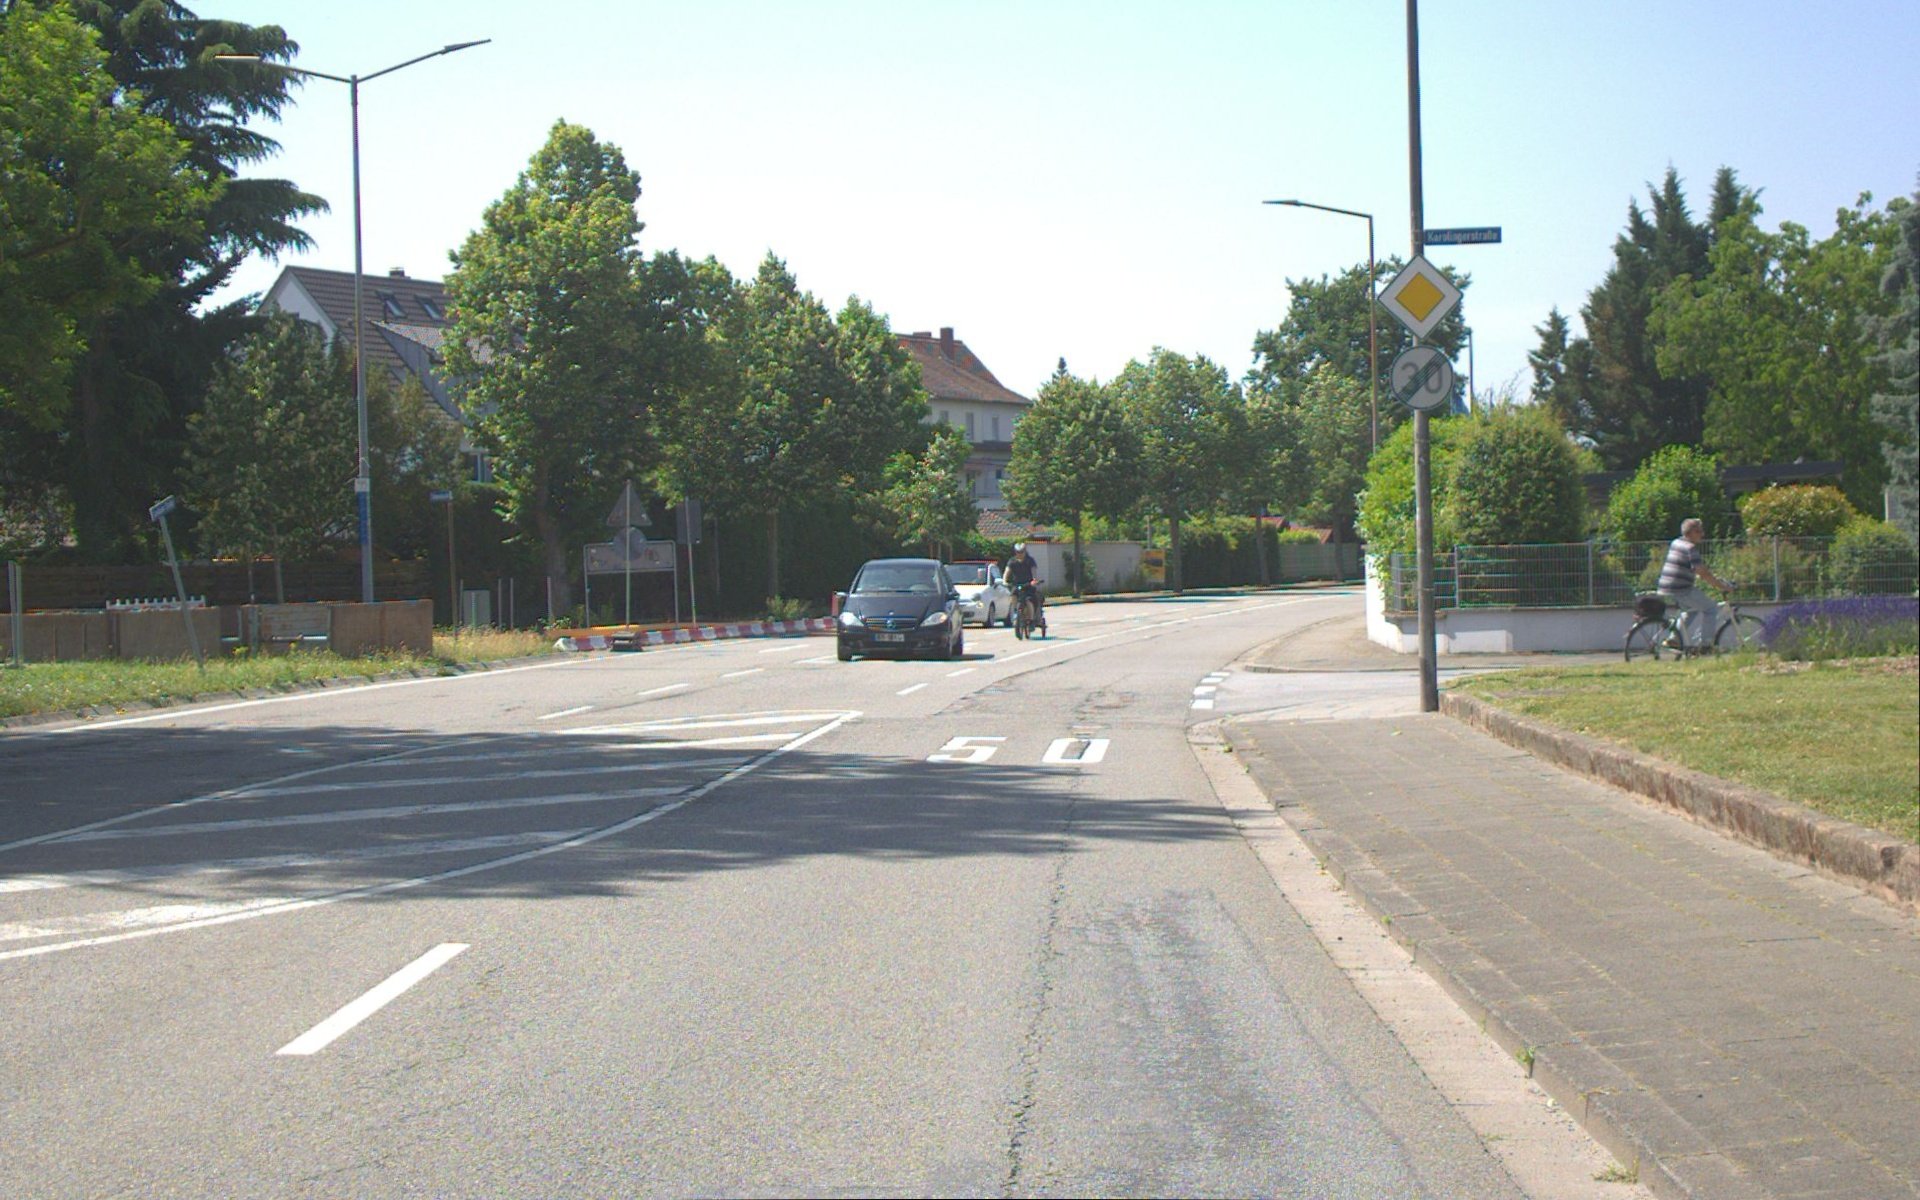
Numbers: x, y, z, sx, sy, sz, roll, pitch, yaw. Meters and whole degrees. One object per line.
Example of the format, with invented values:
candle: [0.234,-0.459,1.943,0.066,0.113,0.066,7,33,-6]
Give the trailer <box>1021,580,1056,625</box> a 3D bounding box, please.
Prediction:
trailer: [1.551,0.055,67.546,0.570,0.853,1.132,-2,0,6]

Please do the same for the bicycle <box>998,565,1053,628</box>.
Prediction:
bicycle: [1.265,-0.076,66.000,0.850,1.162,1.977,-1,1,6]

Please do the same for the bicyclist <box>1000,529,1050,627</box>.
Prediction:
bicyclist: [1.254,-0.425,65.946,0.846,1.859,0.976,-1,0,6]

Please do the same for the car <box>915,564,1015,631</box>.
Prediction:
car: [0.133,-0.074,78.696,1.699,1.505,3.457,0,1,11]

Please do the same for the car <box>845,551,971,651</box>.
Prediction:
car: [-0.792,-0.015,54.596,1.725,1.527,3.830,0,1,3]

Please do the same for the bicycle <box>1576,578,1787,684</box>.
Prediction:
bicycle: [8.116,0.345,38.726,2.139,1.099,0.816,-2,1,-6]

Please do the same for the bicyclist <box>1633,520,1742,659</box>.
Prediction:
bicyclist: [8.191,-0.122,38.733,0.925,1.525,0.856,-2,1,-6]
